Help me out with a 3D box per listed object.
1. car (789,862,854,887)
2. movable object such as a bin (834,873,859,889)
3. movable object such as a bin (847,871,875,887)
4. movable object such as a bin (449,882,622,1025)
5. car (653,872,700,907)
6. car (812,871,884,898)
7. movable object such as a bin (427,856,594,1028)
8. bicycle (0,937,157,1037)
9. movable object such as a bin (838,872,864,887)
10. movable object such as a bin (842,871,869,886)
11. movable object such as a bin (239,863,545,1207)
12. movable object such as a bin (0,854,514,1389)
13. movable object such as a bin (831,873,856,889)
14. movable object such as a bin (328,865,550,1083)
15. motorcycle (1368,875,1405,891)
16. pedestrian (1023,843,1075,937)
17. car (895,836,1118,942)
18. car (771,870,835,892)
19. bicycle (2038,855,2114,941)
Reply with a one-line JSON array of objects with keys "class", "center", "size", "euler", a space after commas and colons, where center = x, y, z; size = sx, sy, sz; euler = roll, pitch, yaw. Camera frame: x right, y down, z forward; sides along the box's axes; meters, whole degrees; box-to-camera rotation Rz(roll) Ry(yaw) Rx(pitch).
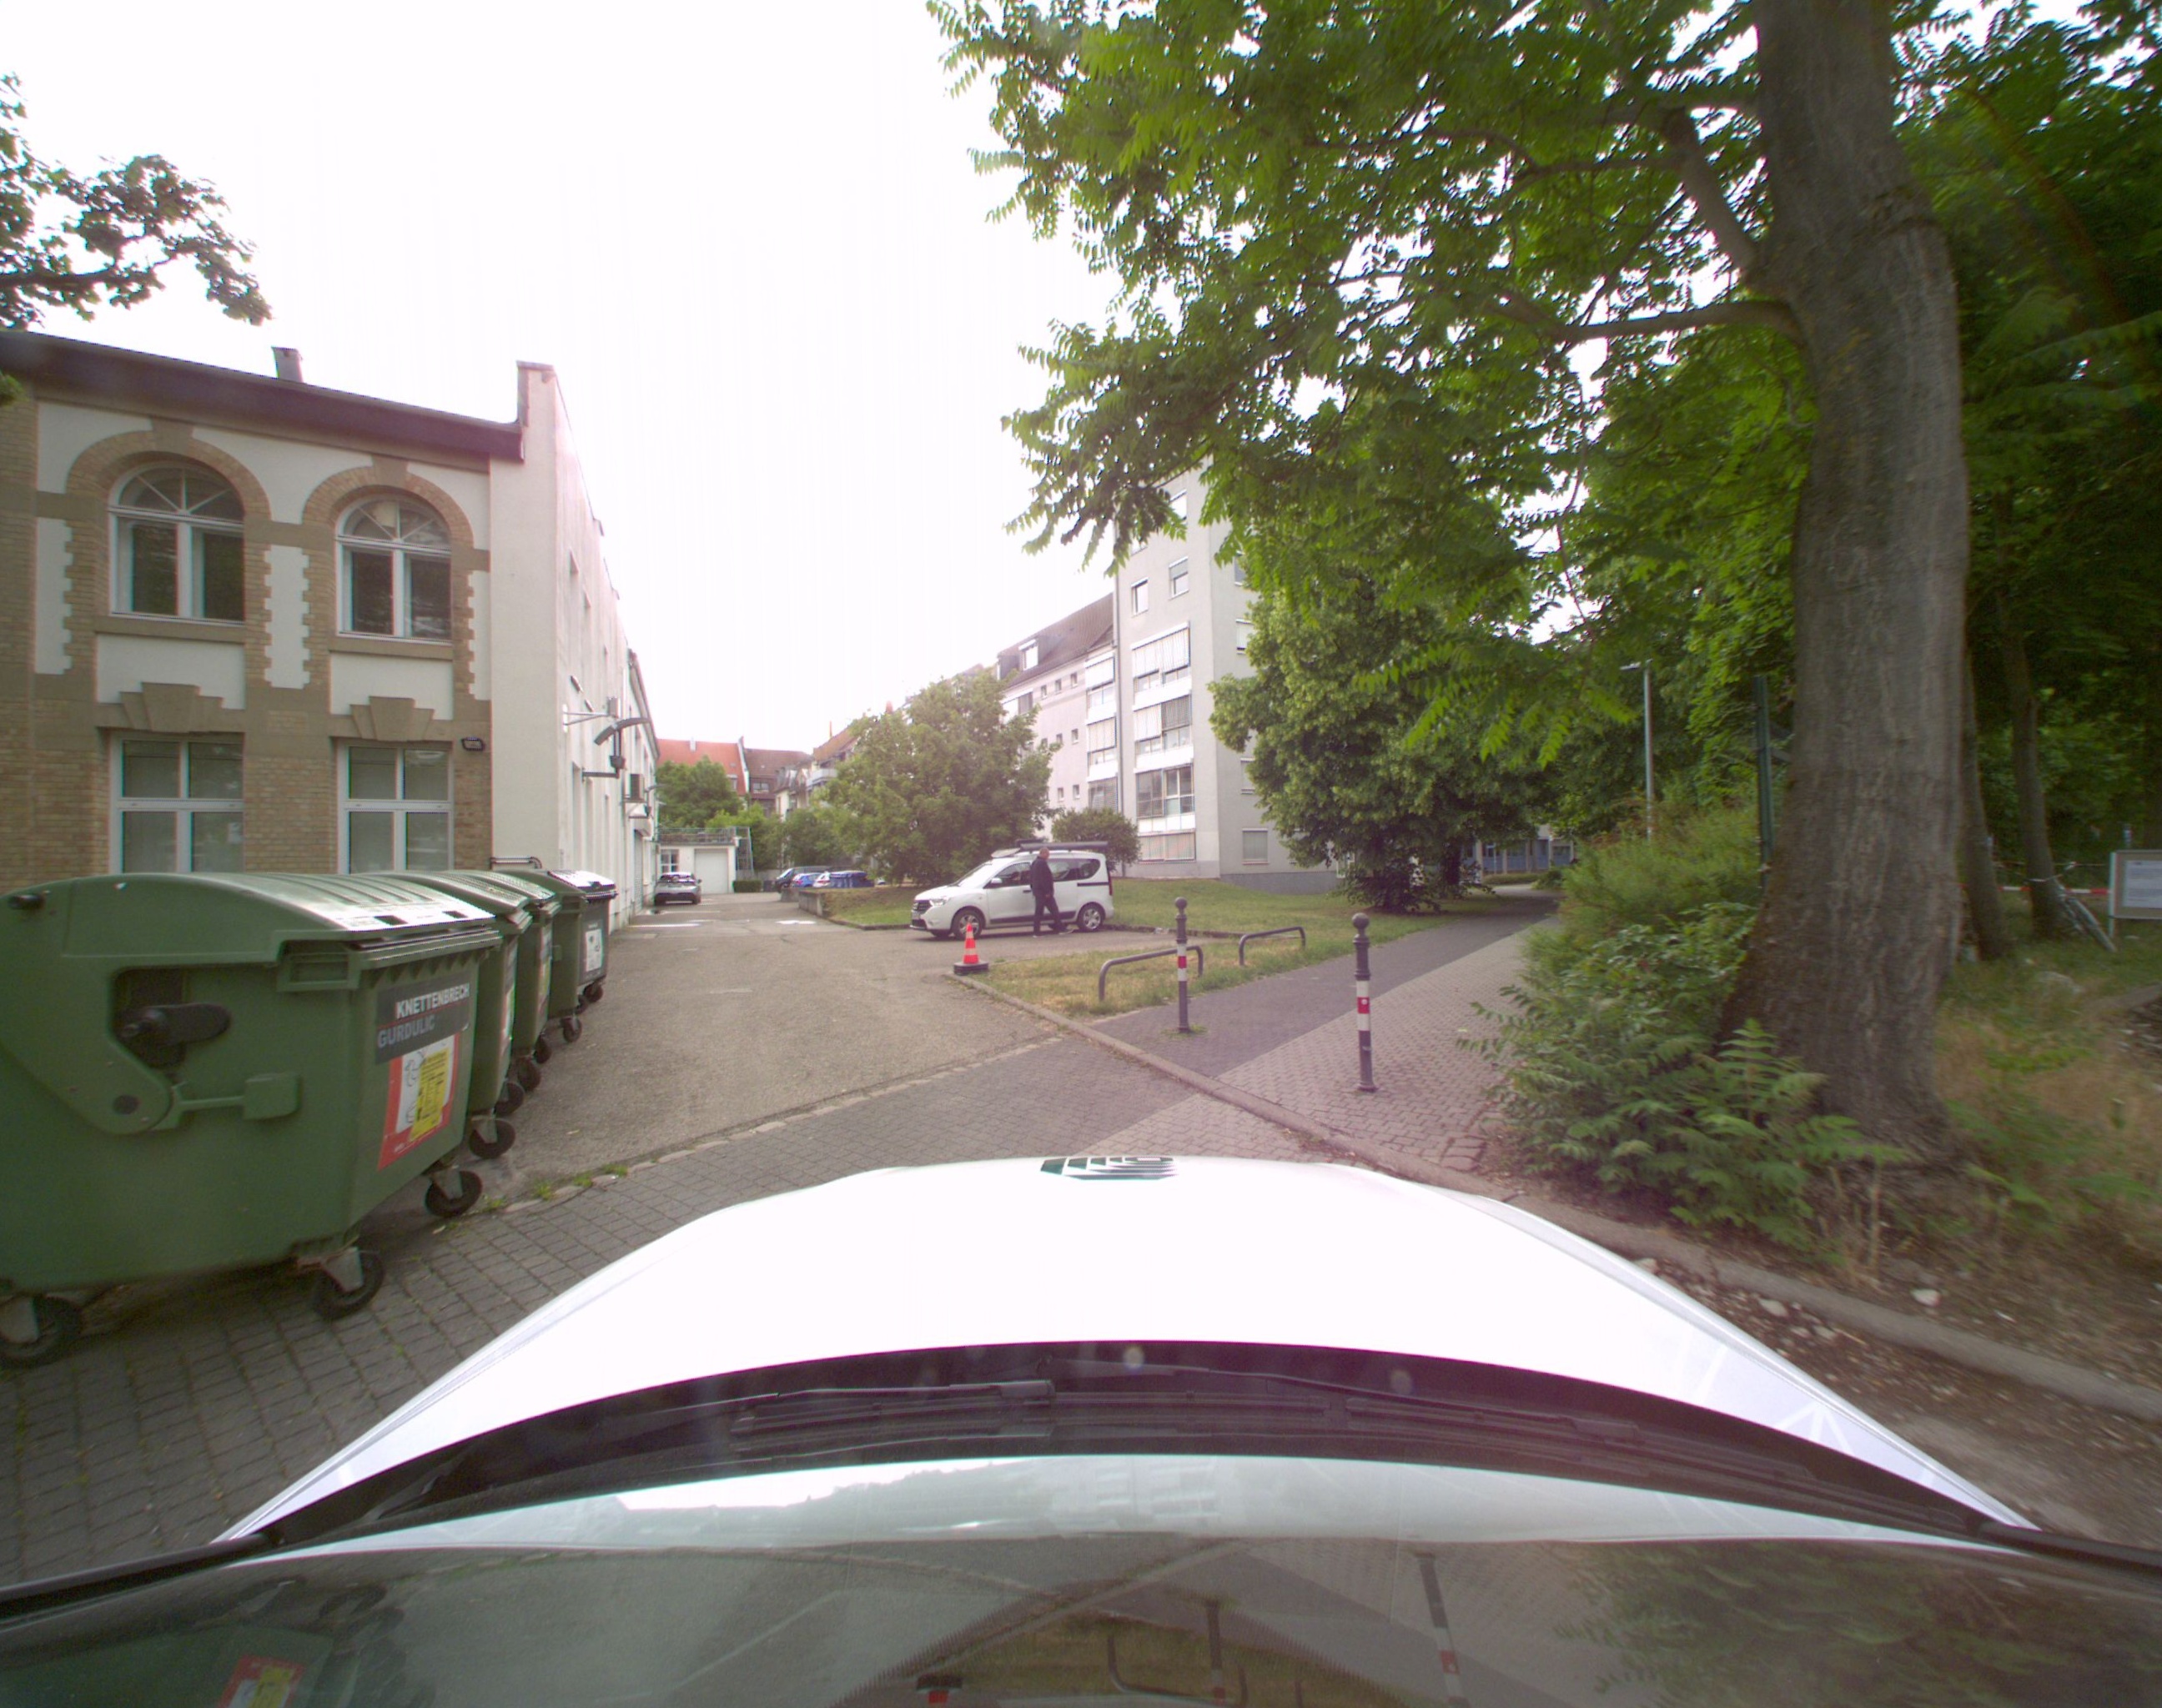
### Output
[{"class": "car", "center": [-18.155, 1.410, 57.041], "size": [4.018, 1.574, 1.567], "euler": [-1, -1, -37]}, {"class": "movable object such as a bin", "center": [-10.658, 1.236, 37.043], "size": [0.970, 0.679, 0.804], "euler": [-1, -2, -25]}, {"class": "movable object such as a bin", "center": [-9.179, 1.031, 33.930], "size": [0.970, 0.637, 0.903], "euler": [-1, -2, -25]}, {"class": "movable object such as a bin", "center": [-5.503, 0.948, 8.346], "size": [1.054, 1.265, 1.347], "euler": [-1, 0, -14]}, {"class": "car", "center": [-19.031, 1.669, 38.420], "size": [1.857, 1.508, 3.966], "euler": [-1, -2, -26]}, {"class": "car", "center": [-15.107, 1.915, 52.811], "size": [4.018, 1.574, 1.978], "euler": [-1, 0, -37]}, {"class": "movable object such as a bin", "center": [-4.842, 0.670, 6.956], "size": [1.060, 1.265, 1.339], "euler": [-1, -1, -35]}, {"class": "bicycle", "center": [-11.007, 1.391, 8.717], "size": [0.619, 0.813, 1.931], "euler": [-1, -1, -20]}, {"class": "movable object such as a bin", "center": [-10.225, 1.153, 36.154], "size": [0.970, 0.637, 0.903], "euler": [-1, -2, -25]}, {"class": "movable object such as a bin", "center": [-9.711, 1.054, 35.098], "size": [0.970, 0.637, 0.903], "euler": [-1, -2, -25]}, {"class": "movable object such as a bin", "center": [-3.519, 0.794, 4.350], "size": [1.059, 1.456, 1.340], "euler": [0, -2, -32]}, {"class": "movable object such as a bin", "center": [-2.903, 0.757, 2.999], "size": [1.056, 1.450, 1.344], "euler": [-1, -2, -22]}, {"class": "movable object such as a bin", "center": [-11.039, 1.259, 37.852], "size": [0.970, 0.679, 0.863], "euler": [-1, -2, -25]}, {"class": "movable object such as a bin", "center": [-4.351, 0.722, 5.668], "size": [1.059, 1.265, 1.340], "euler": [-1, -1, -32]}, {"class": "motorcycle", "center": [19.963, 1.879, 53.140], "size": [3.211, 0.881, 0.951], "euler": [0, -1, -44]}, {"class": "pedestrian", "center": [-0.646, 0.715, 16.369], "size": [0.759, 1.809, 0.691], "euler": [-1, -3, -31]}, {"class": "car", "center": [-1.551, 0.686, 17.455], "size": [4.366, 2.014, 1.836], "euler": [0, -2, -31]}, {"class": "car", "center": [-21.125, 2.027, 61.955], "size": [4.215, 1.574, 1.978], "euler": [-1, 0, -37]}, {"class": "bicycle", "center": [11.675, 0.494, 9.576], "size": [1.160, 0.905, 0.415], "euler": [-1, 5, -43]}]
